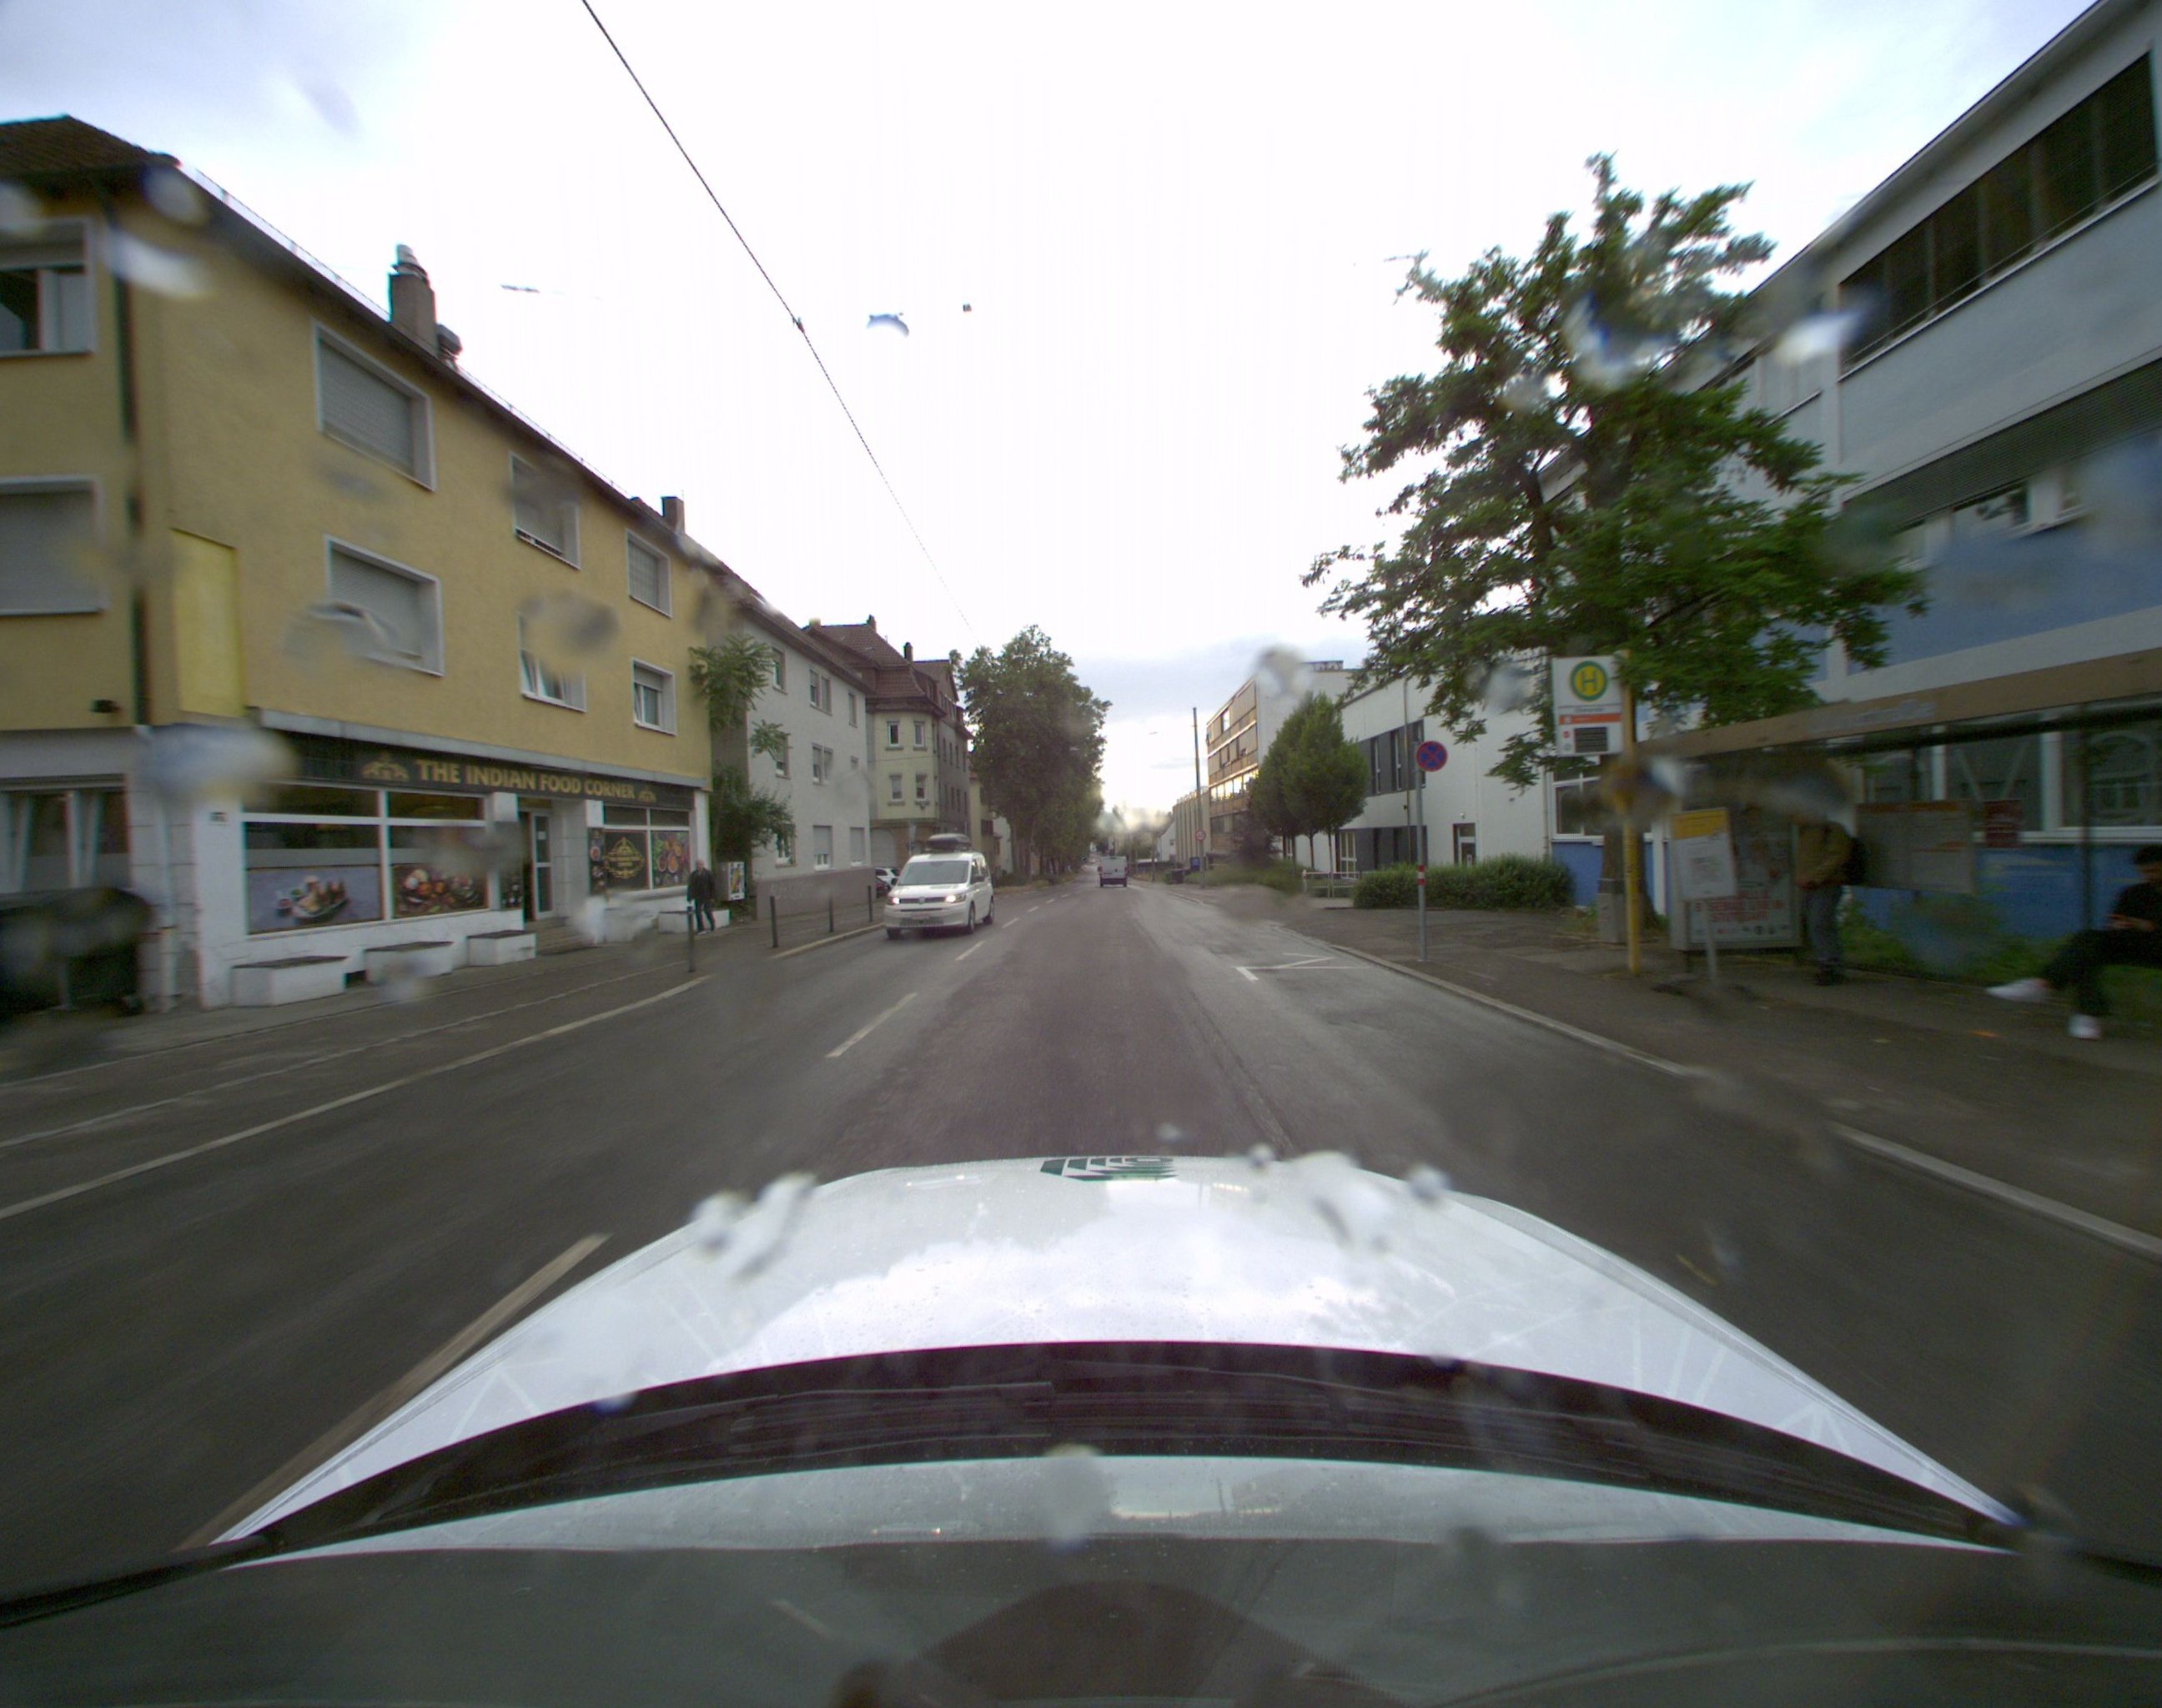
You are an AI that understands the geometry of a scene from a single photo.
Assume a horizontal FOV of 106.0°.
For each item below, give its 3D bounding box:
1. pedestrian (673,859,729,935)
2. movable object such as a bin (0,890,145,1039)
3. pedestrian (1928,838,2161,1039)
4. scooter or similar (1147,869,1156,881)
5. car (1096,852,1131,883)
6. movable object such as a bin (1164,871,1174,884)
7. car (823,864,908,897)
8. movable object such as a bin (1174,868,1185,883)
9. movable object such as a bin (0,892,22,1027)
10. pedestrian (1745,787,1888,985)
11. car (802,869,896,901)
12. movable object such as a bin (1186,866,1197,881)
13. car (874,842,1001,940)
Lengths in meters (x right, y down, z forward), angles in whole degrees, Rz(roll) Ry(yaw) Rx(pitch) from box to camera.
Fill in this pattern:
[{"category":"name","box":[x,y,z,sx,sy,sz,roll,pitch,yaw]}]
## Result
[{"category":"pedestrian","box":[-8.704,0.975,18.674,0.813,1.679,0.992,-1,-1,-1]},{"category":"movable object such as a bin","box":[-10.933,1.111,8.440,1.297,1.402,0.983,-1,0,1]},{"category":"pedestrian","box":[7.138,0.559,5.844,1.353,1.273,0.740,-3,0,-4]},{"category":"scooter or similar","box":[7.015,2.135,81.267,0.604,1.162,1.698,-2,-2,-3]},{"category":"car","box":[2.434,0.994,61.946,2.339,2.160,4.776,-2,1,-1]},{"category":"movable object such as a bin","box":[6.739,1.777,62.369,0.617,0.936,0.686,-5,-1,2]},{"category":"car","box":[-11.983,1.458,45.487,4.167,1.704,2.000,1,-1,1]},{"category":"movable object such as a bin","box":[7.523,1.670,62.518,0.692,1.082,0.779,-5,-1,2]},{"category":"movable object such as a bin","box":[-12.249,1.152,8.430,1.242,1.439,0.983,-1,0,0]},{"category":"pedestrian","box":[7.264,0.301,8.073,0.645,1.831,0.740,-3,0,-4]},{"category":"car","box":[-11.344,1.503,39.963,3.973,1.453,2.000,1,-1,0]},{"category":"movable object such as a bin","box":[8.488,1.524,62.513,0.692,1.082,0.779,-5,-1,2]},{"category":"car","box":[-3.085,0.769,18.492,1.875,1.870,4.454,-3,-1,2]}]
